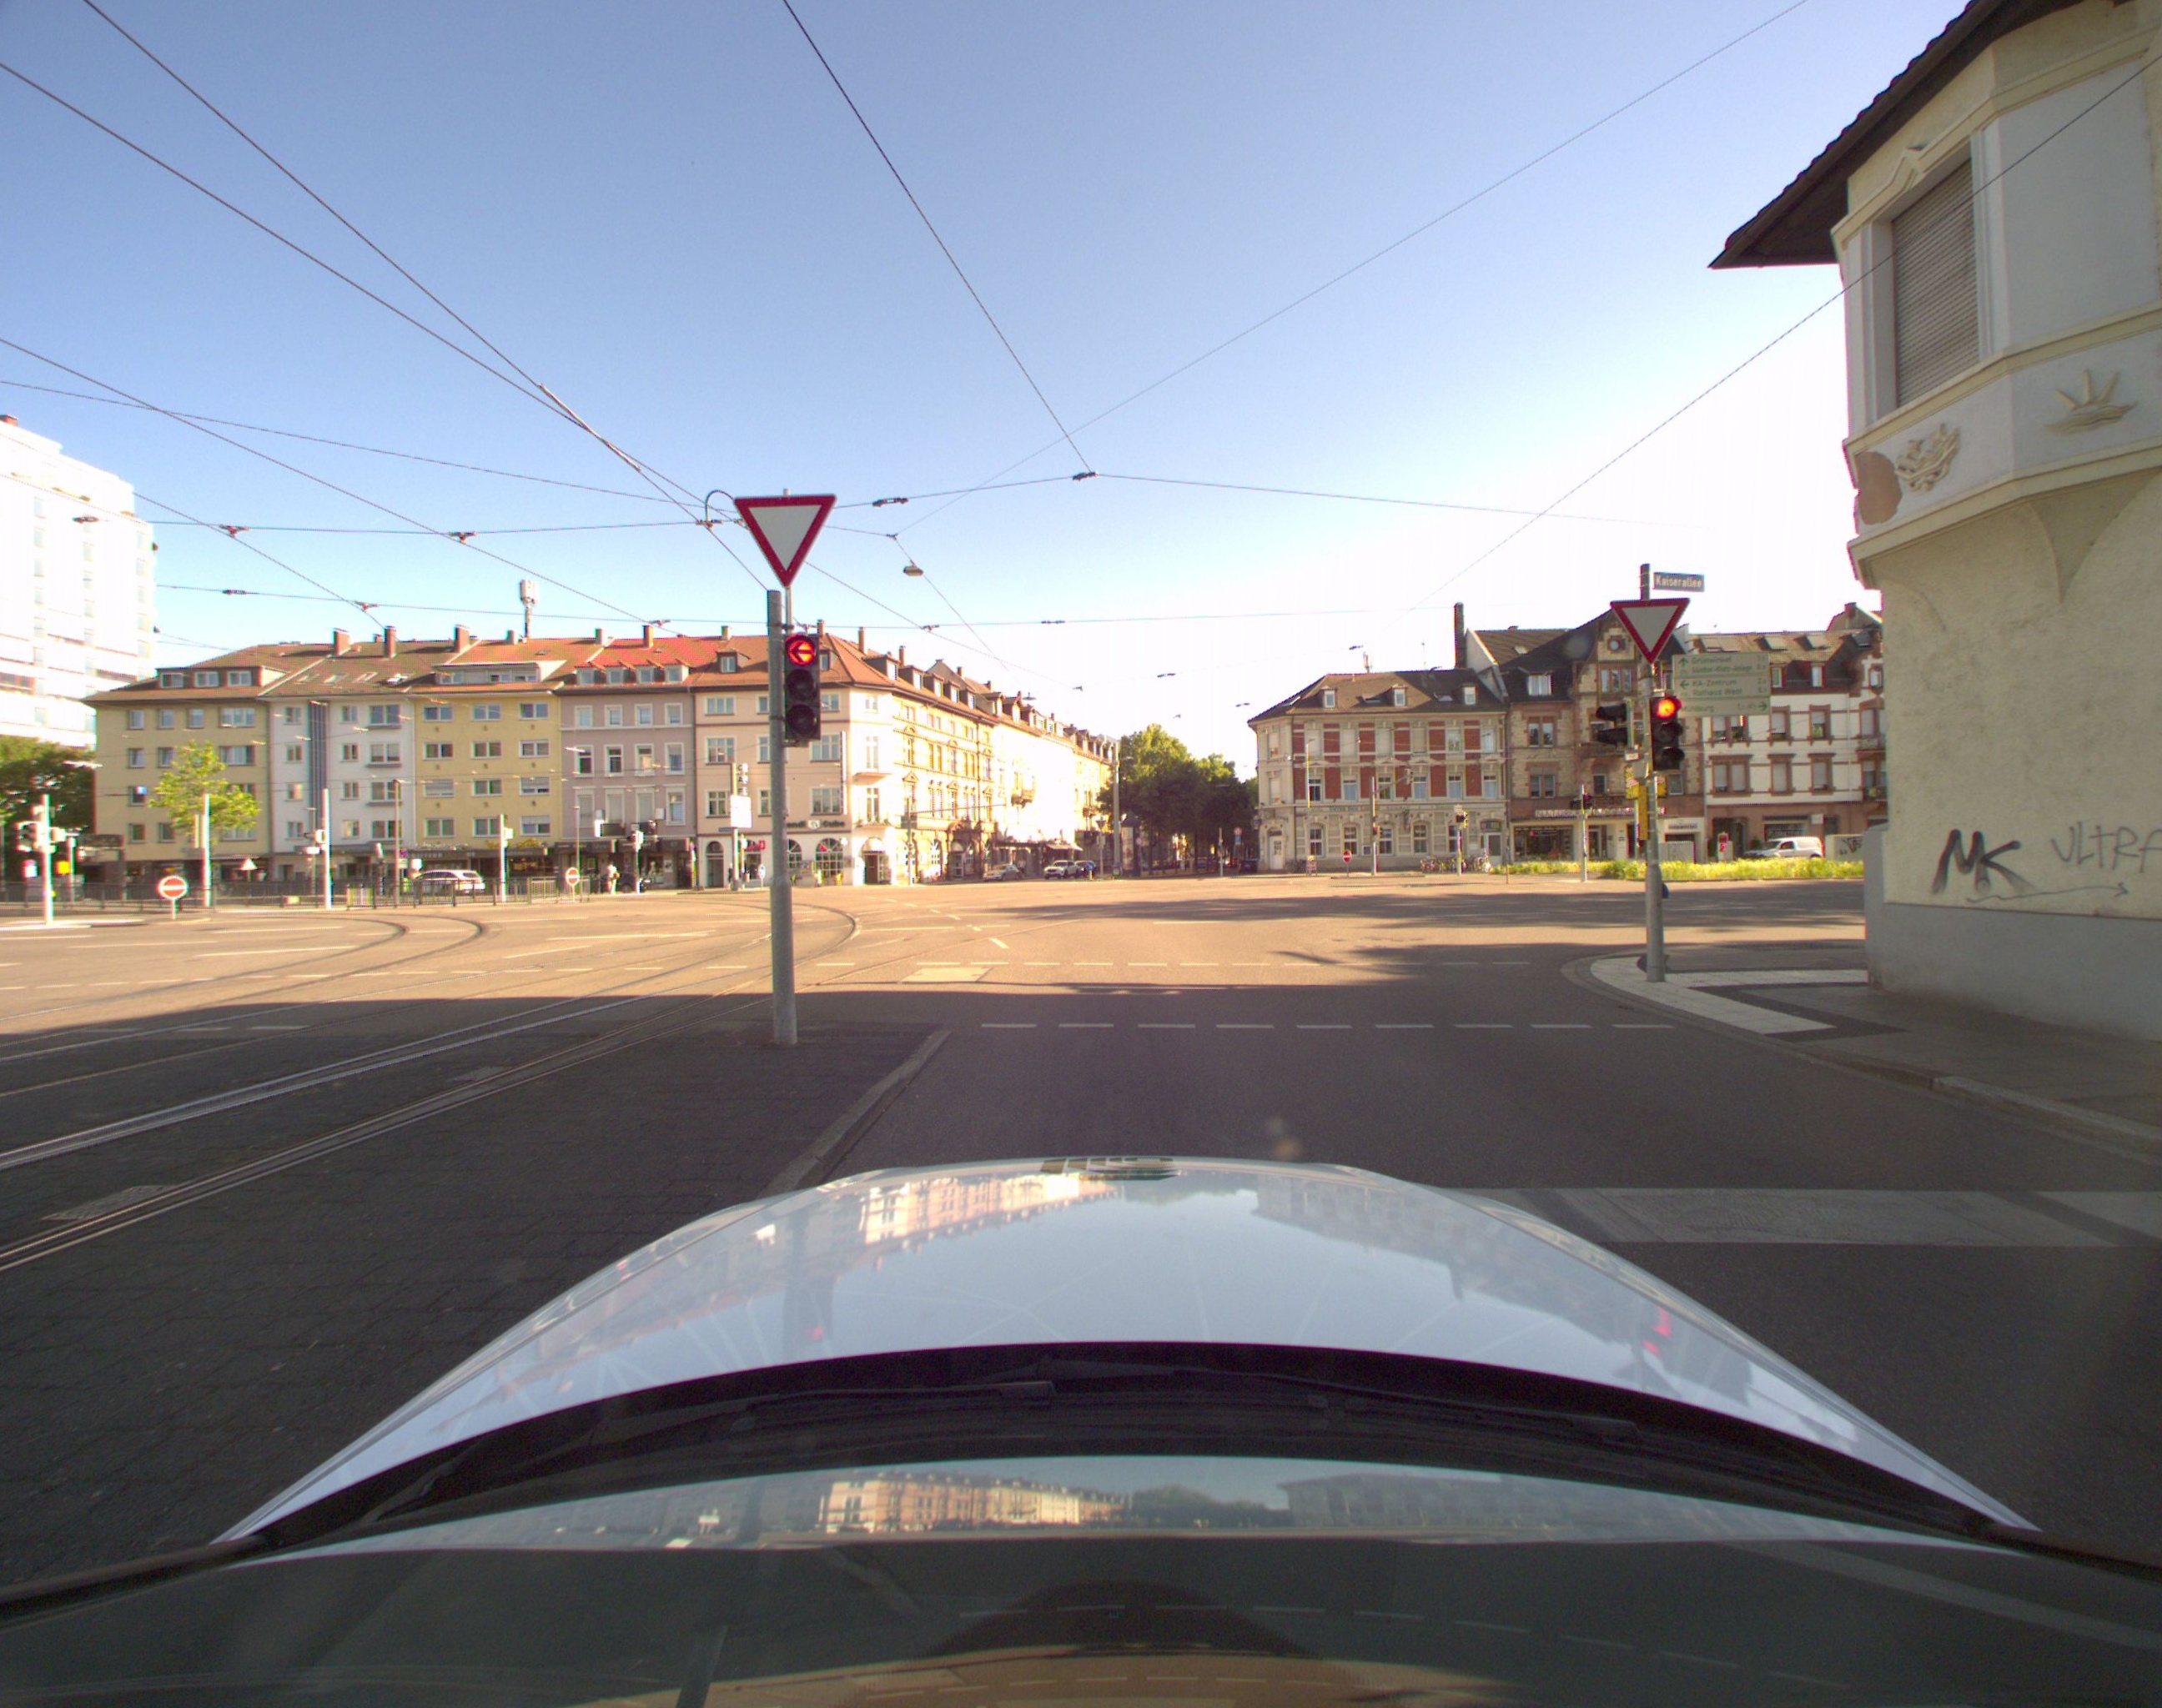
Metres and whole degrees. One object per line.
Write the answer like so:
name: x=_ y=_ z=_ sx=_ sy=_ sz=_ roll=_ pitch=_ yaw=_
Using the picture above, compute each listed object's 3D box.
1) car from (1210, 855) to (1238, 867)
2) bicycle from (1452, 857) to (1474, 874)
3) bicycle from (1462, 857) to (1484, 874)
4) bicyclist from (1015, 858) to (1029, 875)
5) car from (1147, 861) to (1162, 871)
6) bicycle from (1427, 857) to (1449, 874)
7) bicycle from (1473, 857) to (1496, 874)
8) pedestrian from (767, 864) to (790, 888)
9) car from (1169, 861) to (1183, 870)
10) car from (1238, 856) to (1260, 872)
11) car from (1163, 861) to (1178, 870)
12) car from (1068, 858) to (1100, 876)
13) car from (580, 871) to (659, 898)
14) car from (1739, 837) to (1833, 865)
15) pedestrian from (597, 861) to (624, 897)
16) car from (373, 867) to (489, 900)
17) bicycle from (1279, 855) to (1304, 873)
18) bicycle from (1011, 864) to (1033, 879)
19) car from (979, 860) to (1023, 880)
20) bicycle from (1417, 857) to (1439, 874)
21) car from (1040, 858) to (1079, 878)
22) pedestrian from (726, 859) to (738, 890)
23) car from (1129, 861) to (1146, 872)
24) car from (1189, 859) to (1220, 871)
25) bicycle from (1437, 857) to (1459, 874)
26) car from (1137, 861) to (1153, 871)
car: x=23.377 y=1.101 z=133.071 sx=4.074 sy=1.919 sz=1.756 roll=1 pitch=0 yaw=23
bicycle: x=24.641 y=0.733 z=52.568 sx=0.603 sy=1.051 sz=1.641 roll=-1 pitch=0 yaw=-3
bicycle: x=25.316 y=0.729 z=52.618 sx=0.603 sy=1.051 sz=1.641 roll=-1 pitch=0 yaw=-3
bicyclist: x=-4.764 y=0.991 z=65.870 sx=0.787 sy=1.375 sz=1.113 roll=-1 pitch=0 yaw=16
car: x=11.068 y=1.740 z=122.708 sx=1.729 sy=1.397 sz=4.137 roll=1 pitch=0 yaw=12
bicycle: x=23.151 y=0.746 z=52.868 sx=0.603 sy=1.051 sz=1.641 roll=-1 pitch=0 yaw=-3
bicycle: x=26.055 y=0.724 z=52.610 sx=0.603 sy=1.051 sz=1.641 roll=-1 pitch=0 yaw=-3
pedestrian: x=-20.265 y=1.464 z=54.615 sx=1.060 sy=1.591 sz=1.043 roll=-1 pitch=0 yaw=4
car: x=15.869 y=1.847 z=136.203 sx=1.728 sy=1.397 sz=4.141 roll=1 pitch=0 yaw=16
car: x=16.908 y=1.002 z=82.051 sx=1.637 sy=1.524 sz=3.772 roll=-2 pitch=-1 yaw=20
car: x=14.445 y=1.823 z=131.456 sx=1.728 sy=1.397 sz=4.141 roll=1 pitch=0 yaw=16
car: x=0.293 y=1.157 z=73.692 sx=1.979 sy=1.513 sz=4.015 roll=-1 pitch=0 yaw=14
car: x=-30.273 y=1.990 z=53.533 sx=3.978 sy=1.464 sz=1.998 roll=-2 pitch=0 yaw=-4
car: x=45.386 y=-0.215 z=52.470 sx=4.356 sy=1.654 sz=1.999 roll=-1 pitch=0 yaw=-2
pedestrian: x=-24.569 y=1.309 z=42.556 sx=0.871 sy=1.818 sz=0.811 roll=-1 pitch=0 yaw=2
car: x=-36.485 y=1.664 z=45.791 sx=4.831 sy=1.660 sz=2.000 roll=-1 pitch=0 yaw=0
bicycle: x=14.698 y=0.700 z=56.938 sx=1.625 sy=1.222 sz=0.609 roll=-1 pitch=0 yaw=18
bicycle: x=-4.767 y=1.435 z=65.899 sx=0.745 sy=1.135 sz=2.821 roll=-1 pitch=0 yaw=16
car: x=-6.596 y=1.308 z=67.699 sx=2.080 sy=1.545 sz=4.382 roll=-1 pitch=0 yaw=16
bicycle: x=22.498 y=0.751 z=52.838 sx=0.603 sy=1.051 sz=1.641 roll=-1 pitch=0 yaw=-3
car: x=-1.728 y=1.168 z=67.369 sx=2.080 sy=1.499 sz=4.017 roll=-1 pitch=0 yaw=16
pedestrian: x=-22.776 y=1.357 z=53.122 sx=0.506 sy=2.013 sz=0.505 roll=-1 pitch=0 yaw=5
car: x=7.606 y=1.660 z=110.002 sx=1.729 sy=1.397 sz=4.137 roll=1 pitch=0 yaw=12
car: x=17.490 y=1.538 z=114.992 sx=4.078 sy=1.646 sz=1.754 roll=1 pitch=0 yaw=17
bicycle: x=23.815 y=0.742 z=52.869 sx=0.603 sy=1.051 sz=1.641 roll=-1 pitch=0 yaw=-3
car: x=9.180 y=1.696 z=115.772 sx=1.729 sy=1.397 sz=4.137 roll=1 pitch=0 yaw=12
